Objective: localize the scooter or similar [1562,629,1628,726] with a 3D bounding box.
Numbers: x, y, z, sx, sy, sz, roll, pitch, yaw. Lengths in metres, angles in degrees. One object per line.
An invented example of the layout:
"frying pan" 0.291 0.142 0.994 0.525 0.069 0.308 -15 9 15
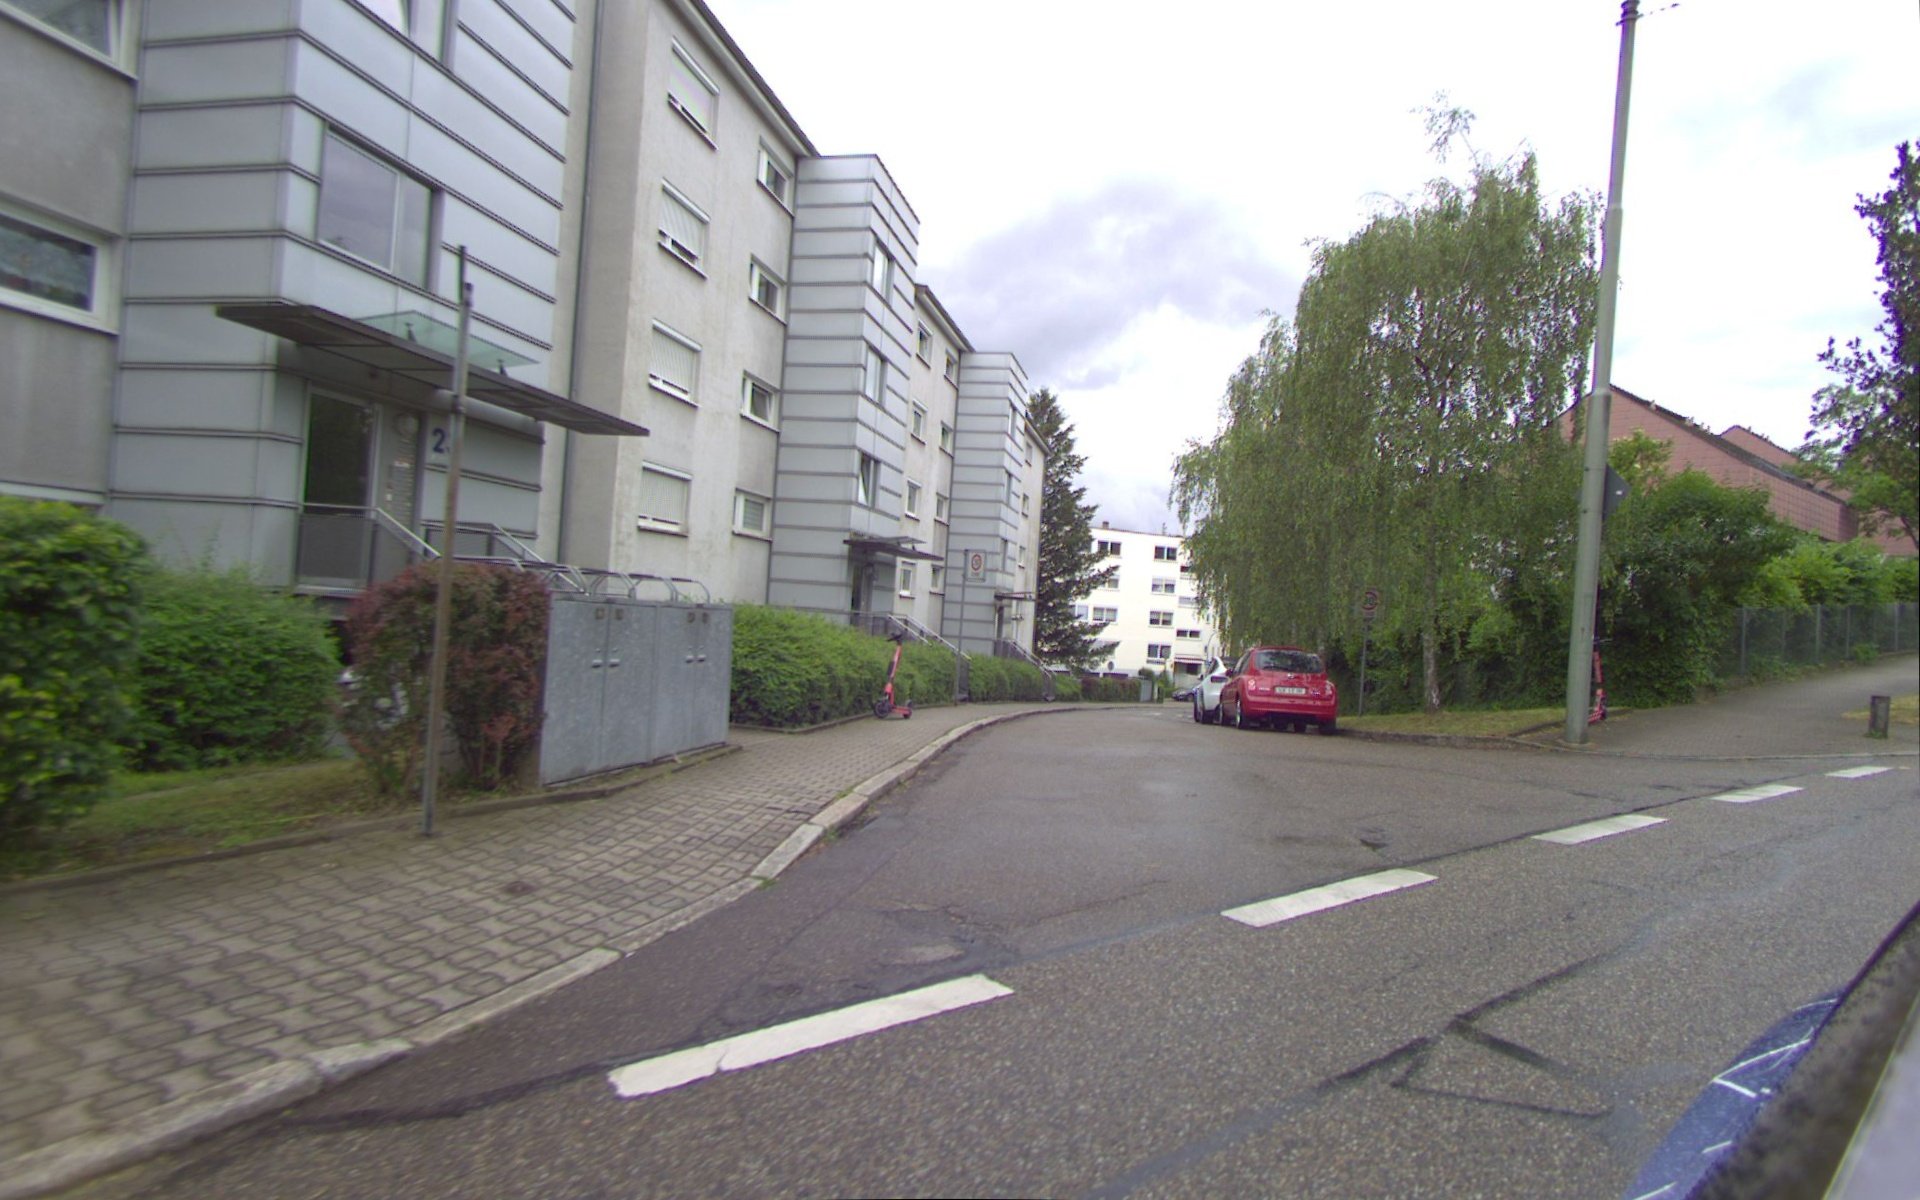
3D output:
"scooter or similar" 9.011 1.075 14.352 1.244 1.270 0.343 -1 -1 -38

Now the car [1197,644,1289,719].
"car" 6.581 2.002 23.897 1.700 1.563 4.354 -1 -7 11

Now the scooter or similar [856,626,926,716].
"scooter or similar" -0.984 1.034 14.634 0.491 1.199 1.196 4 -4 19

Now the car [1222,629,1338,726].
"car" 5.736 1.456 18.478 1.619 1.543 3.554 1 -6 11
